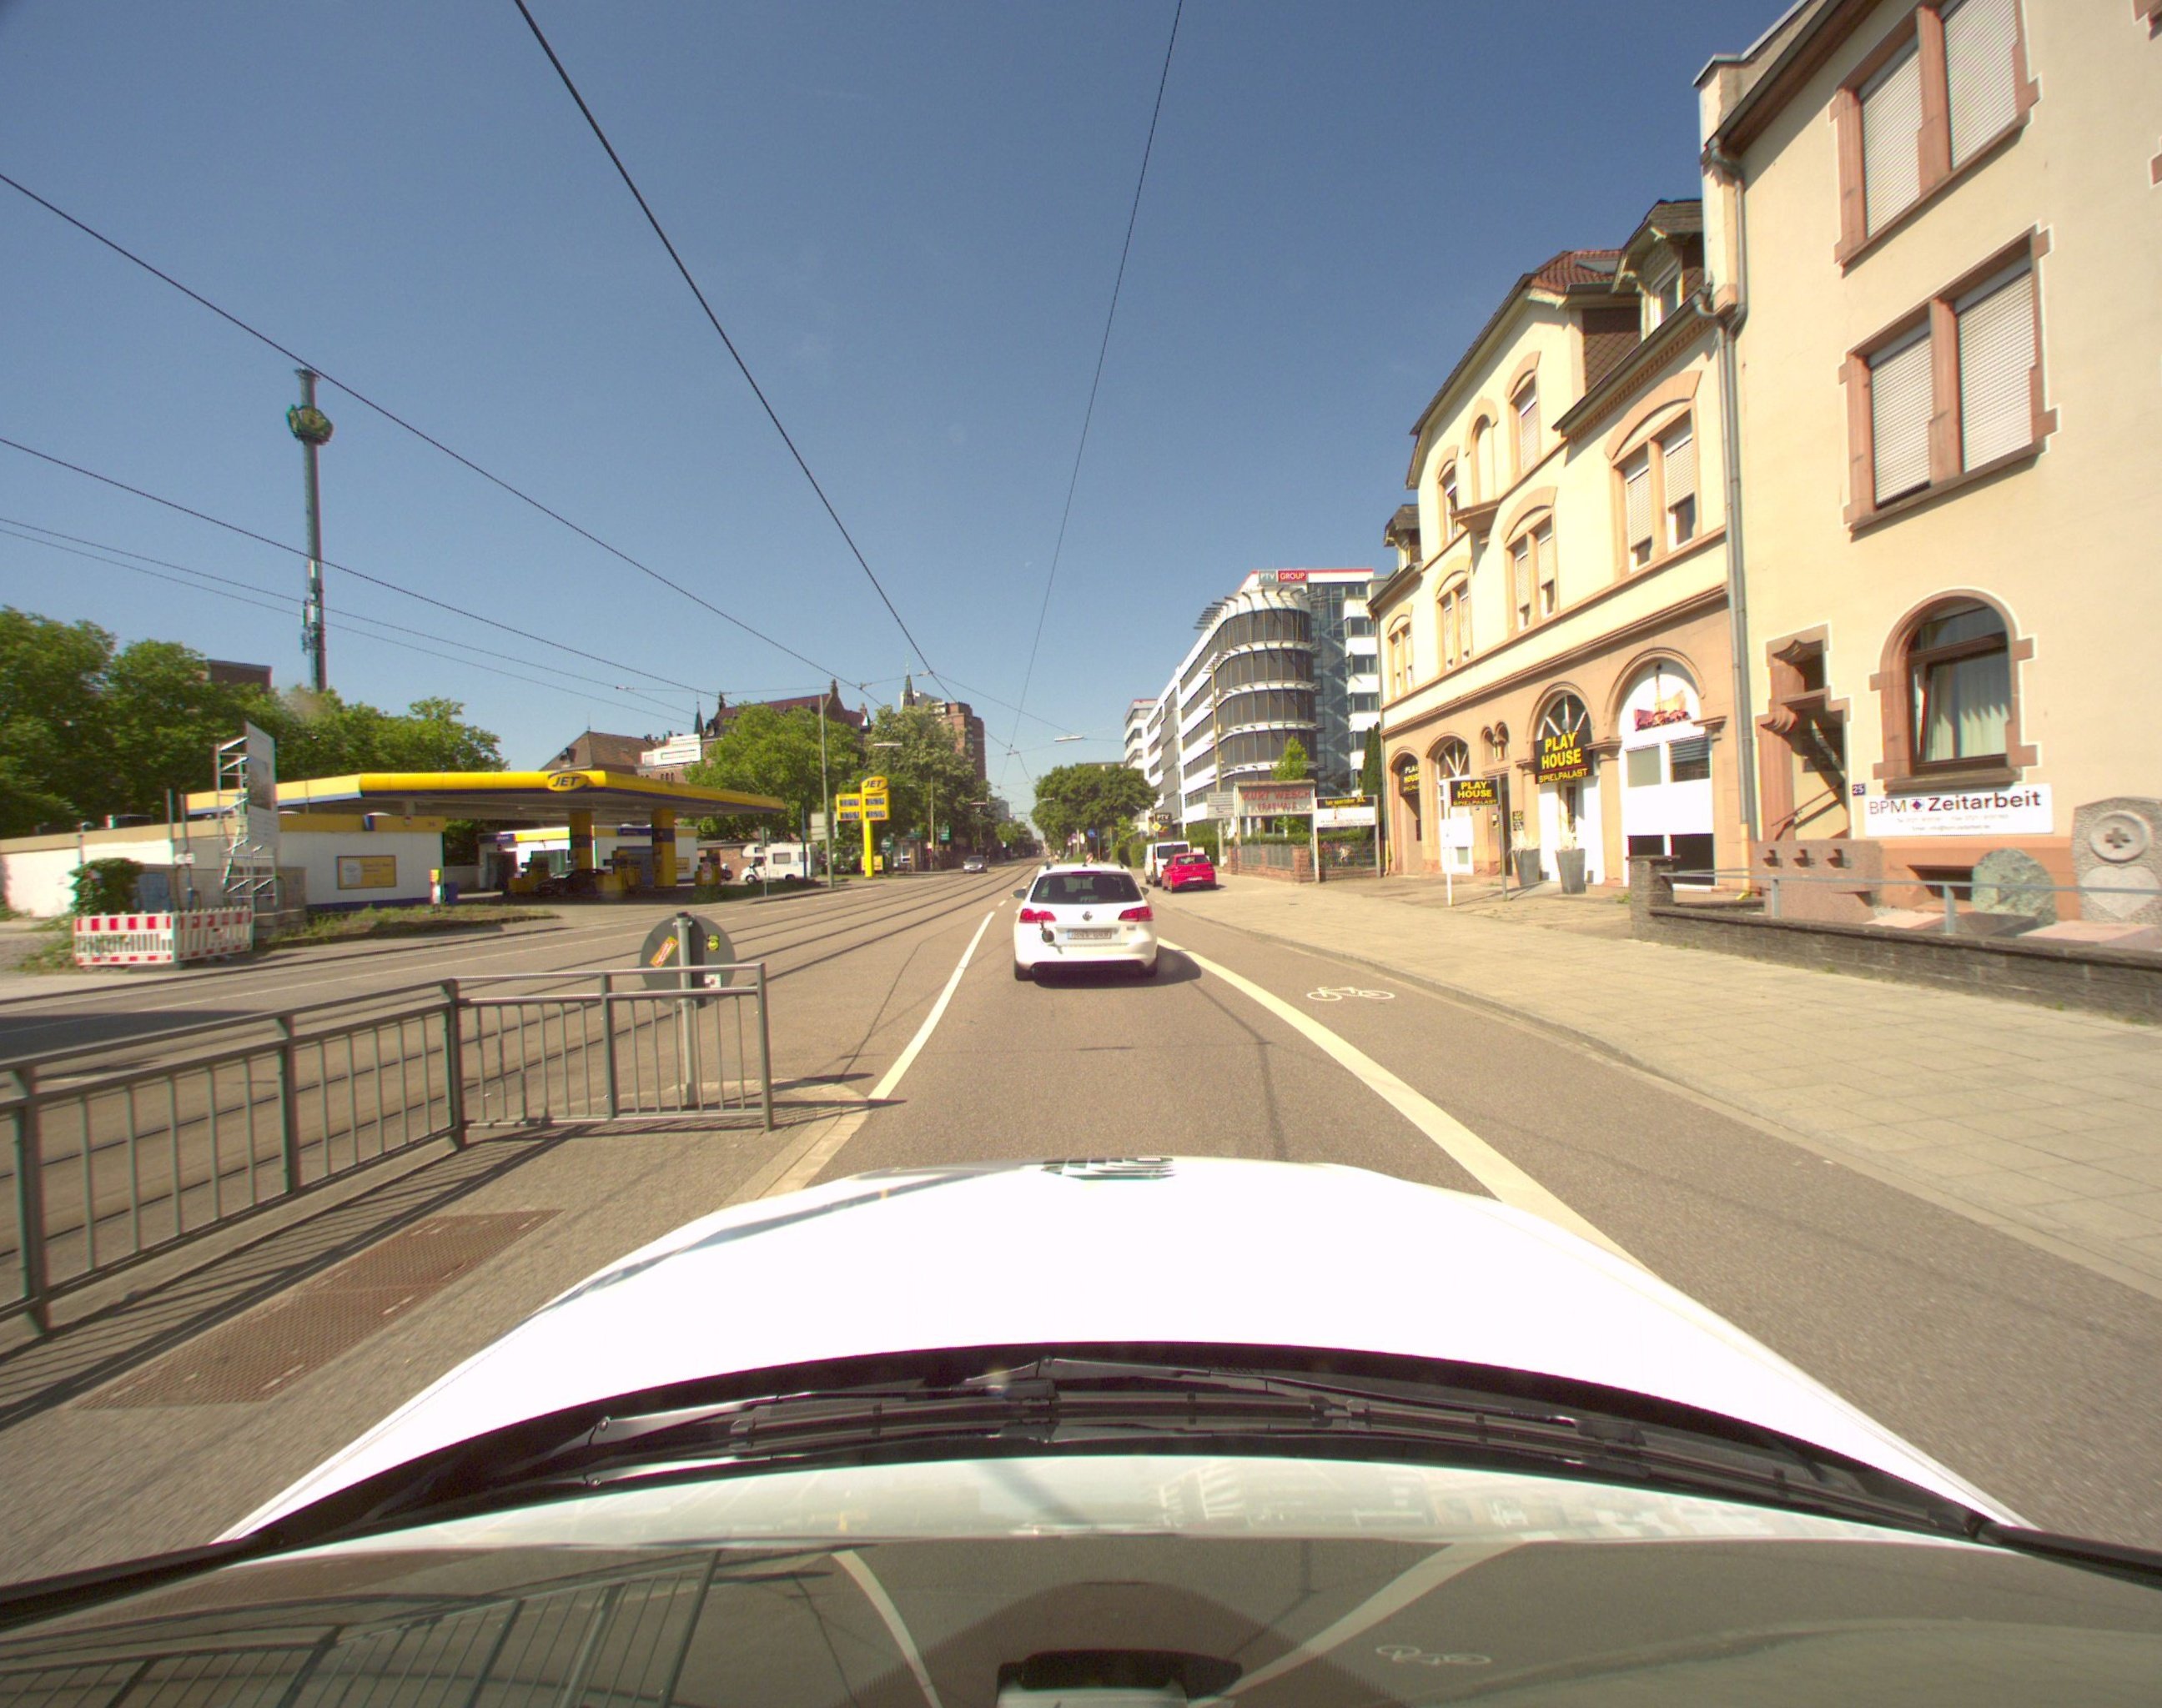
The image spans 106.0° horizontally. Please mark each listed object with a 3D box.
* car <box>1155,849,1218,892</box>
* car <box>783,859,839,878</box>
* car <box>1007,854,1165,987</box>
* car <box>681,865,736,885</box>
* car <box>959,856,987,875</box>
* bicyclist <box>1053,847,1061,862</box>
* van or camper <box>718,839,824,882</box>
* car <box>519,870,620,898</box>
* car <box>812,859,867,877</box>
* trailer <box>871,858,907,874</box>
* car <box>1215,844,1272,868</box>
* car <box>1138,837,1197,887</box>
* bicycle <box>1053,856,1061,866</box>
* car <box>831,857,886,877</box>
[{"bbox_3d":[4.053,0.604,31.892,1.717,1.443,4.309,-4,0,-1],"label":"car"},{"bbox_3d":[-25.700,1.360,77.607,1.925,1.583,4.607,-2,0,43],"label":"car"},{"bbox_3d":[0.012,0.745,11.342,1.749,1.442,4.410,-1,0,-1],"label":"car"},{"bbox_3d":[-31.427,1.772,68.674,4.121,1.527,1.948,-2,-1,23],"label":"car"},{"bbox_3d":[-9.649,1.032,73.109,1.739,1.571,3.895,-3,-1,3],"label":"car"},{"bbox_3d":[-2.702,0.019,91.201,0.783,1.629,0.737,1,-1,-2],"label":"bicyclist"},{"bbox_3d":[-22.601,0.472,59.617,6.681,2.967,2.612,1,0,-6],"label":"van or camper"},{"bbox_3d":[-27.414,1.569,43.831,1.682,1.303,4.414,0,0,23],"label":"car"},{"bbox_3d":[-22.749,1.332,76.742,1.925,1.467,4.607,-2,0,42],"label":"car"},{"bbox_3d":[-19.723,1.180,83.607,3.206,1.525,1.777,-2,0,-1],"label":"trailer"},{"bbox_3d":[11.107,0.135,55.793,3.584,1.473,1.591,-2,0,-2],"label":"car"},{"bbox_3d":[3.949,0.345,38.202,1.971,2.054,5.187,-4,0,-2],"label":"car"},{"bbox_3d":[-2.688,0.734,90.848,0.808,1.078,2.011,-2,0,-1],"label":"bicycle"},{"bbox_3d":[-20.572,1.171,75.455,1.925,1.625,4.607,-2,0,42],"label":"car"}]
